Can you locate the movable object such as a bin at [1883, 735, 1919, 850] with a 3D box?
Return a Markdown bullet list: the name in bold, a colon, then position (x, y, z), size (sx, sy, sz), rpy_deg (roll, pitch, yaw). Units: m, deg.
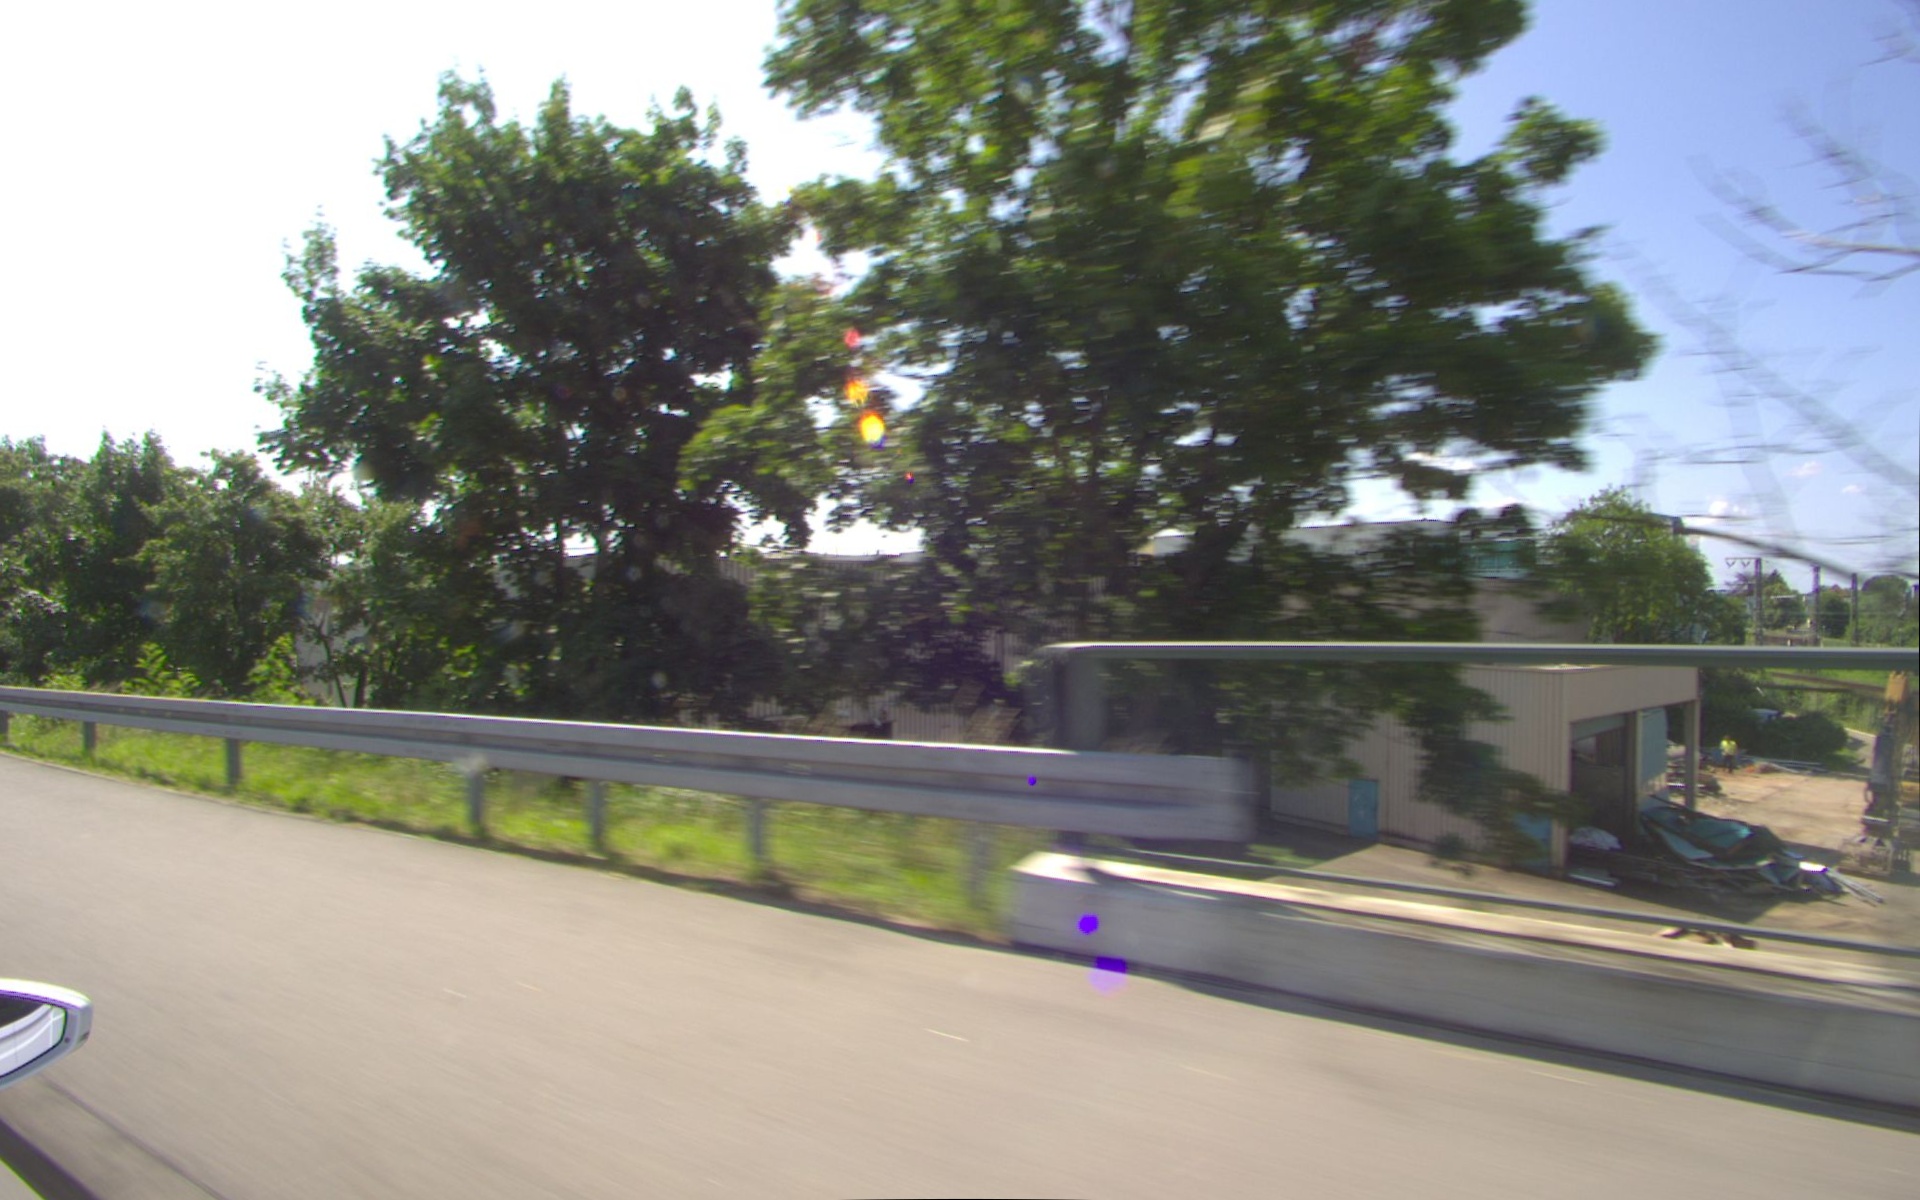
- **movable object such as a bin**: position (34.543, 6.626, 34.240), size (6.147, 3.335, 3.223), rpy_deg (0, 2, -37)
